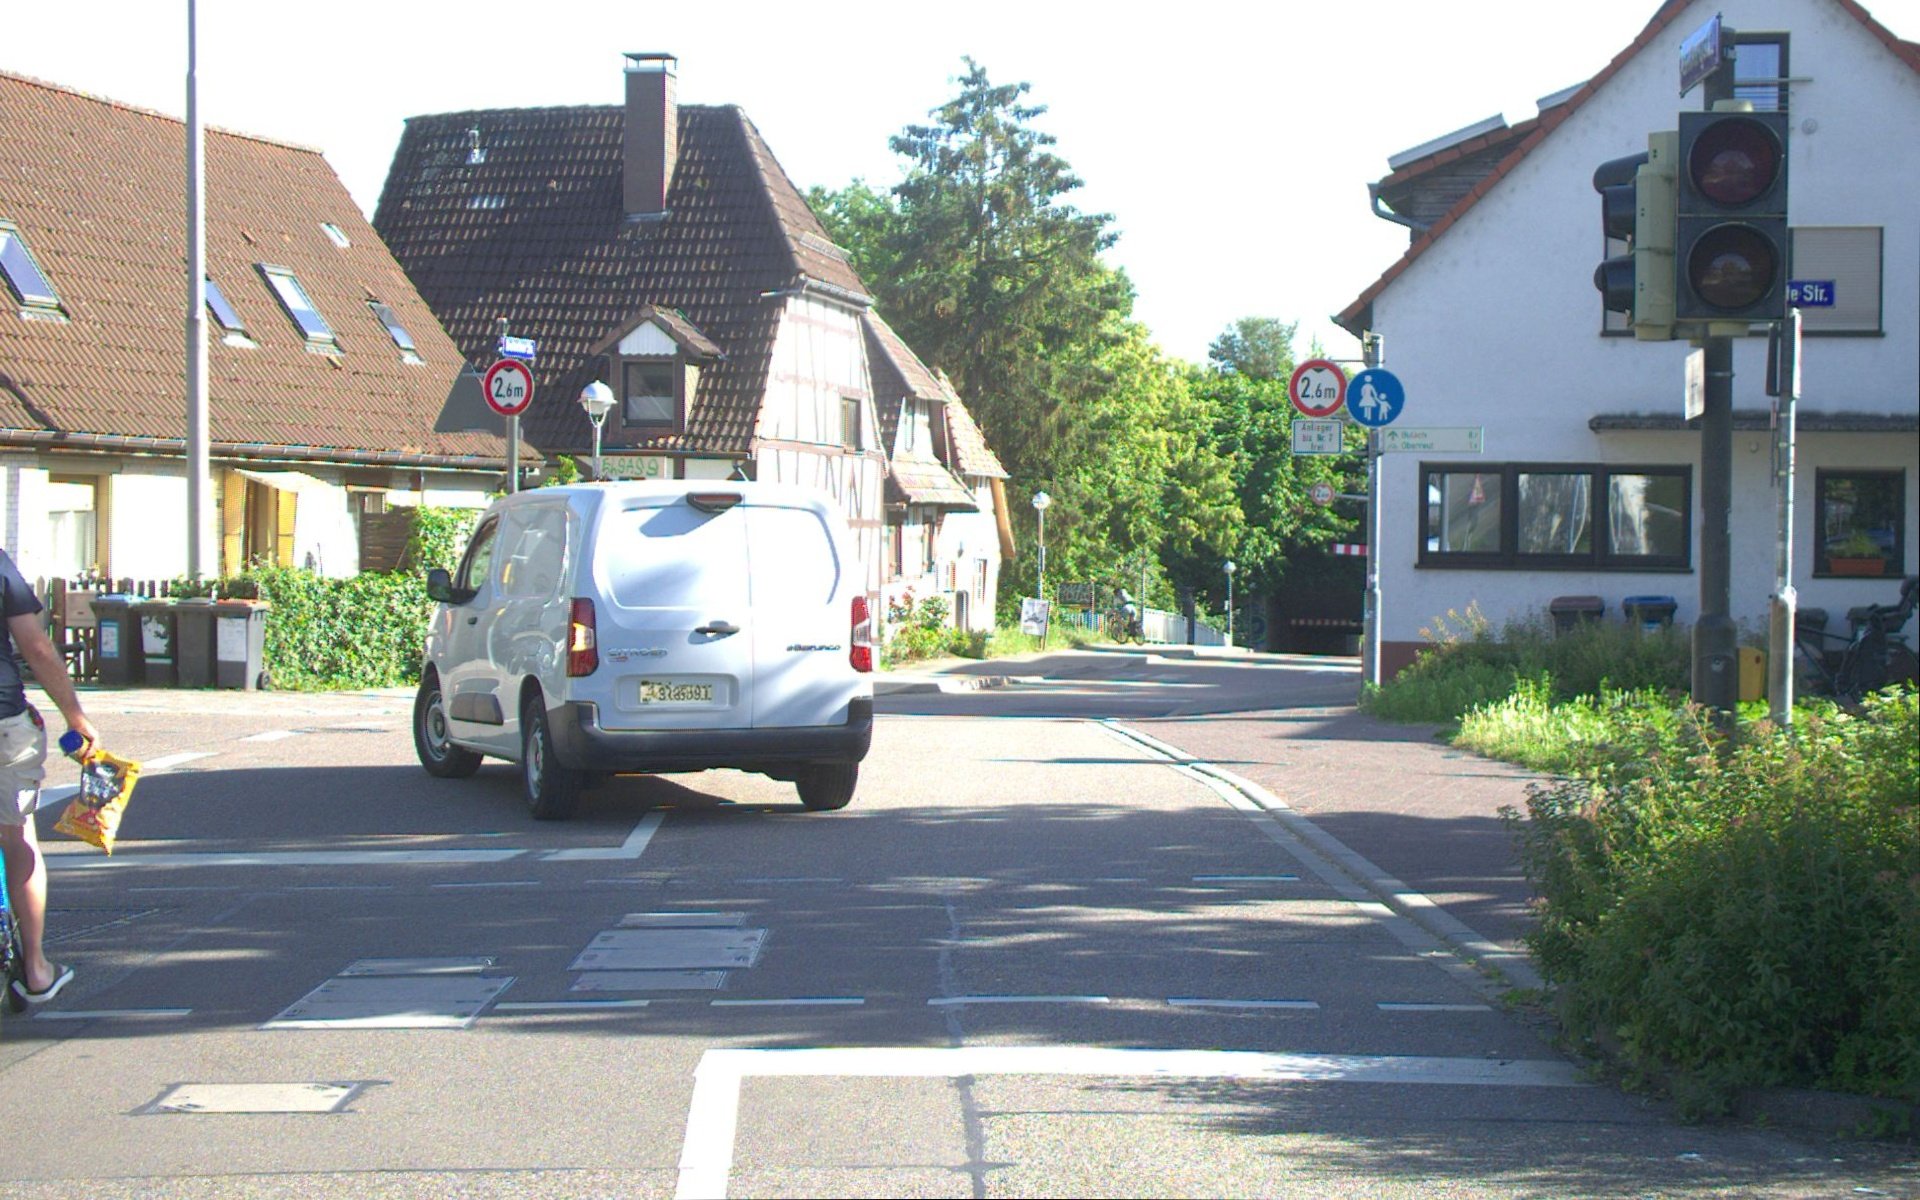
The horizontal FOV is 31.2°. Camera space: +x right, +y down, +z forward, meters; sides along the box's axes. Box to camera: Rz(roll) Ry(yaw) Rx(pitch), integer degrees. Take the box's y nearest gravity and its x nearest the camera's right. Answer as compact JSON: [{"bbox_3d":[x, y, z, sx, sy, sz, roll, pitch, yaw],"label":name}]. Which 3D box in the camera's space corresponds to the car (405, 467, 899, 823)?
[{"bbox_3d":[-1.949,0.168,20.207,1.956,1.841,4.562,0,2,-17],"label":"car"}]

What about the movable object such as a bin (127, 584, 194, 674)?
[{"bbox_3d":[-8.352,0.301,35.941,0.412,0.903,0.625,2,2,17],"label":"movable object such as a bin"}]

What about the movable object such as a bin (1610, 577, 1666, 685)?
[{"bbox_3d":[7.254,0.323,36.782,0.527,1.119,0.748,2,1,9],"label":"movable object such as a bin"}]

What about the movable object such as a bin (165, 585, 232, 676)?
[{"bbox_3d":[-7.931,0.315,35.805,0.411,0.921,0.625,2,1,17],"label":"movable object such as a bin"}]

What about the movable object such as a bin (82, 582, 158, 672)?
[{"bbox_3d":[-8.817,0.279,36.112,0.508,0.921,0.625,2,1,18],"label":"movable object such as a bin"}]

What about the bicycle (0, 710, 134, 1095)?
[{"bbox_3d":[-3.020,0.861,10.478,0.774,0.937,2.291,1,1,-9],"label":"bicycle"}]

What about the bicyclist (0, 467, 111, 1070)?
[{"bbox_3d":[-3.043,0.491,10.546,0.764,1.782,0.853,0,1,-8],"label":"bicyclist"}]

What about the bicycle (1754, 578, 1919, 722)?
[{"bbox_3d":[8.333,0.465,31.986,1.737,1.279,0.700,2,0,8],"label":"bicycle"}]

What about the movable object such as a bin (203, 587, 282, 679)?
[{"bbox_3d":[-7.440,0.337,35.651,0.556,0.921,0.625,2,1,18],"label":"movable object such as a bin"}]

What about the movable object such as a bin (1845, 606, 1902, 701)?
[{"bbox_3d":[9.679,0.565,36.438,0.498,0.973,0.594,2,1,9],"label":"movable object such as a bin"}]

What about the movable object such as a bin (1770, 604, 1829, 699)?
[{"bbox_3d":[8.928,0.541,36.557,0.529,0.980,0.669,2,1,9],"label":"movable object such as a bin"}]
